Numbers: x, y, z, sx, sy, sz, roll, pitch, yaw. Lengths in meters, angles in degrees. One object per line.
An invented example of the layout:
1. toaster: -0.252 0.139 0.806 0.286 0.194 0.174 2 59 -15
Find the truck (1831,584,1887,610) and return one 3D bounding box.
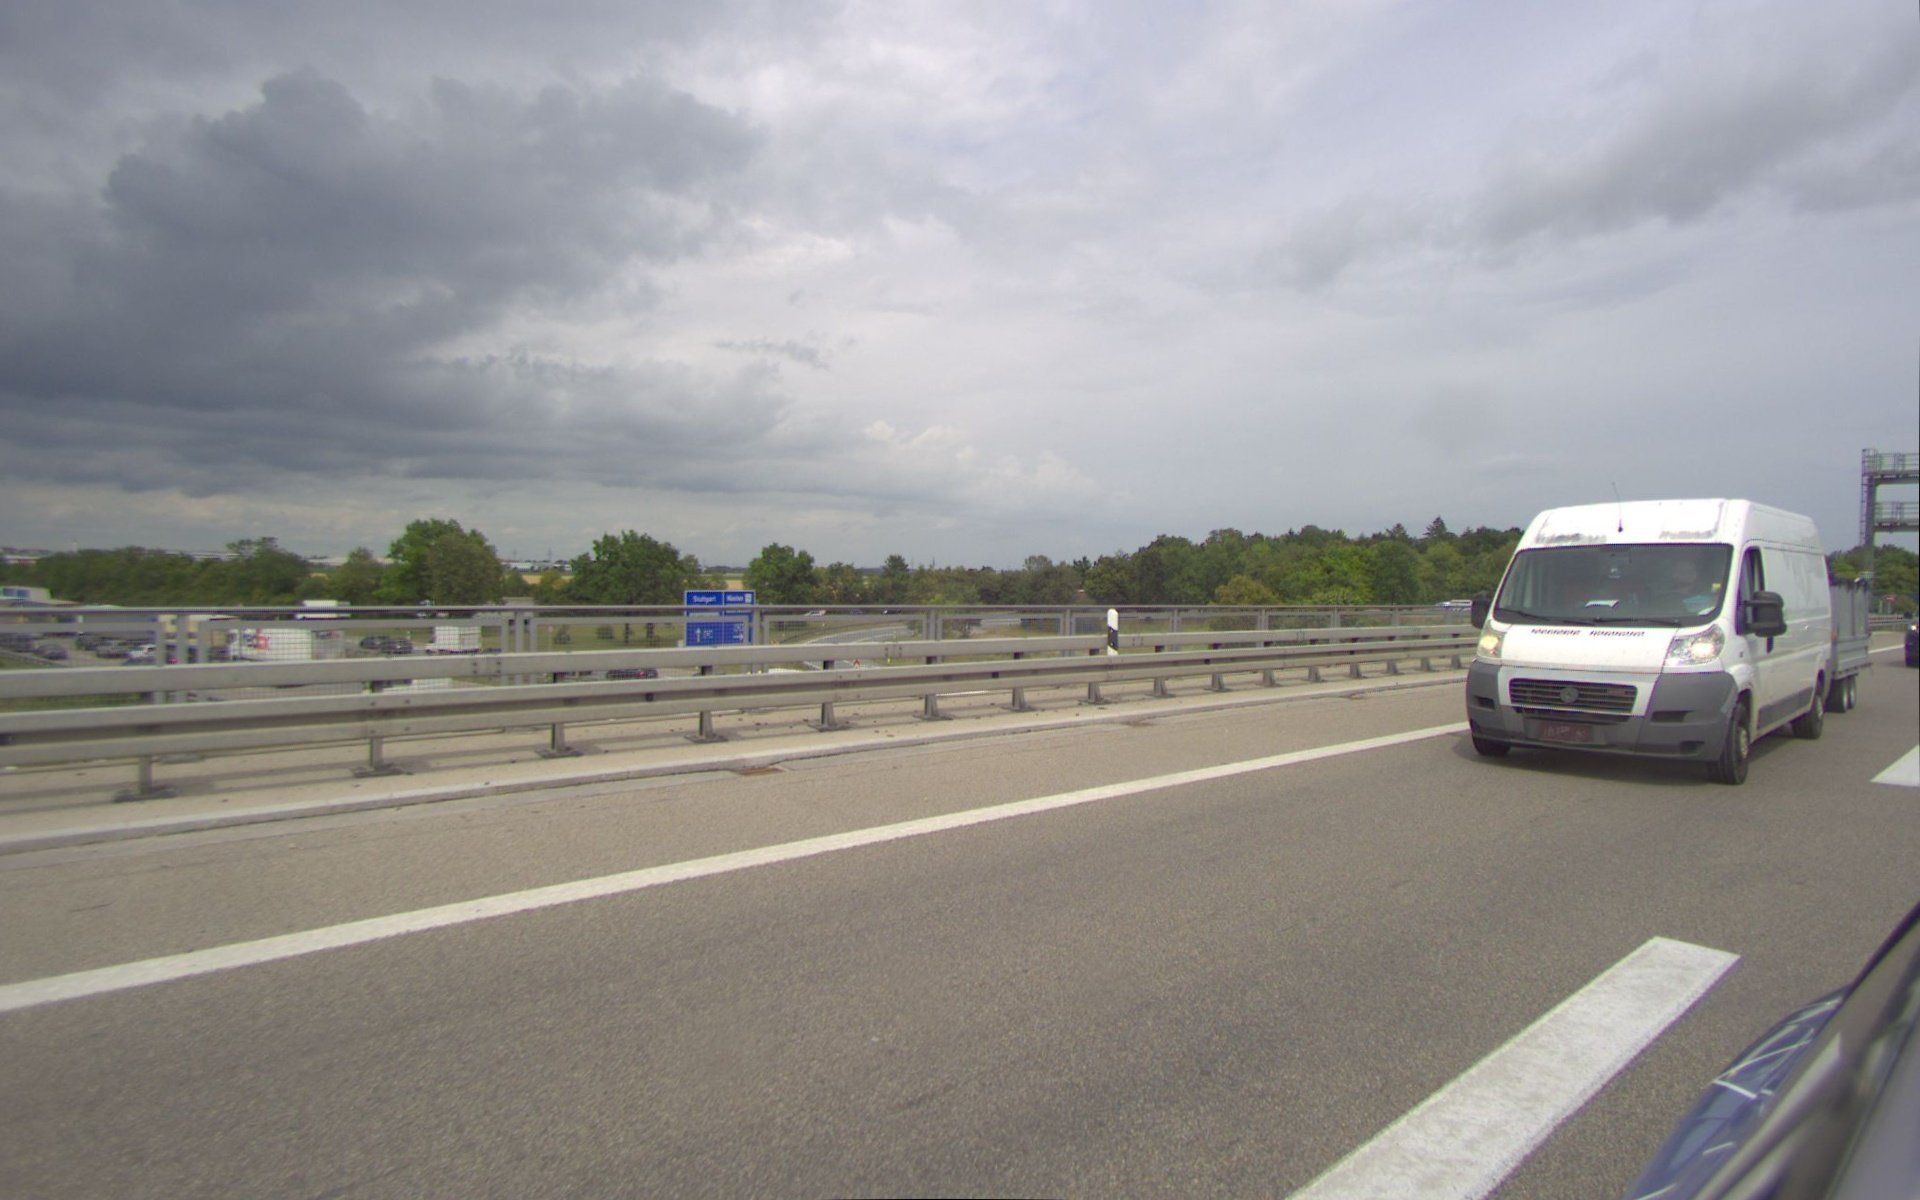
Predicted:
1. truck: 139.409 -0.467 157.005 5.825 3.851 2.896 1 -1 6

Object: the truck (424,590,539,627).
1. truck: -69.380 1.247 147.110 14.553 5.281 3.867 0 0 -8

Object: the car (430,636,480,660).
1. car: -47.568 4.485 95.291 4.635 2.039 2.159 0 0 32

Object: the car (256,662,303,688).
1. car: -51.066 5.590 75.917 3.975 1.575 1.651 1 1 36

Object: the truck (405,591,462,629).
1. truck: -75.986 1.367 146.118 6.312 5.380 3.864 0 0 -7

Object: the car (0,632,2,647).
1. car: -104.228 4.177 108.403 3.975 1.575 1.651 1 1 36

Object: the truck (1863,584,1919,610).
1. truck: 146.897 -0.439 156.197 11.586 3.907 2.842 0 0 6

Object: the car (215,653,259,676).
1. car: -57.245 5.085 80.098 3.976 1.505 1.715 1 1 37

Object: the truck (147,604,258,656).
1. truck: -73.280 2.740 97.715 16.264 4.612 3.956 0 0 36

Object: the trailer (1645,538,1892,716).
1. trailer: 11.124 0.319 13.804 4.550 2.039 1.858 0 0 -41

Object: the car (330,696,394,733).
1. car: -33.661 6.386 56.909 3.975 1.575 1.651 1 1 36

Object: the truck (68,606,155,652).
1. truck: -91.763 3.012 109.316 14.796 4.612 3.955 0 0 37

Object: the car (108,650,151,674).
1. car: -65.689 4.903 80.049 3.975 1.575 1.651 1 1 36

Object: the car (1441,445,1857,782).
1. car: 7.246 0.110 10.276 6.045 2.485 2.117 0 0 -42

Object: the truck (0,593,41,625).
1. truck: -126.967 1.161 134.610 14.800 4.083 4.090 0 0 36

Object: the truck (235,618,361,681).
1. truck: -54.639 3.874 83.284 13.703 4.612 3.957 0 0 36

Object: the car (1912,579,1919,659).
1. car: 23.811 0.446 23.583 3.930 1.816 1.997 0 0 -41

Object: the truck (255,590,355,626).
1. truck: -96.148 1.179 148.657 12.779 5.105 3.944 0 0 7

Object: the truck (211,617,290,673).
1. truck: -62.326 3.824 88.857 6.254 4.568 3.882 0 0 36

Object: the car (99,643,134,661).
1. car: -80.815 4.937 96.927 3.976 1.505 1.715 1 1 37

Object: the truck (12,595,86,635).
1. truck: -110.411 1.686 122.574 15.219 4.612 3.954 0 0 38

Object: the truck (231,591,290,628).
1. truck: -103.482 1.346 149.675 6.338 5.380 3.848 0 0 10

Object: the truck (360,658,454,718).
1. truck: -34.943 5.469 63.861 7.520 3.237 2.203 0 0 36

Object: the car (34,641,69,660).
1. car: -86.097 4.756 95.895 3.976 1.505 1.715 1 1 36

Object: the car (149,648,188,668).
1. car: -68.905 5.014 88.090 3.976 1.505 1.715 1 1 37

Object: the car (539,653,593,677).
1. car: -32.298 5.268 82.914 4.435 1.631 1.976 1 1 34

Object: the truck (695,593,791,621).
1. truck: -33.978 1.106 158.482 14.423 4.141 3.092 0 0 -20
